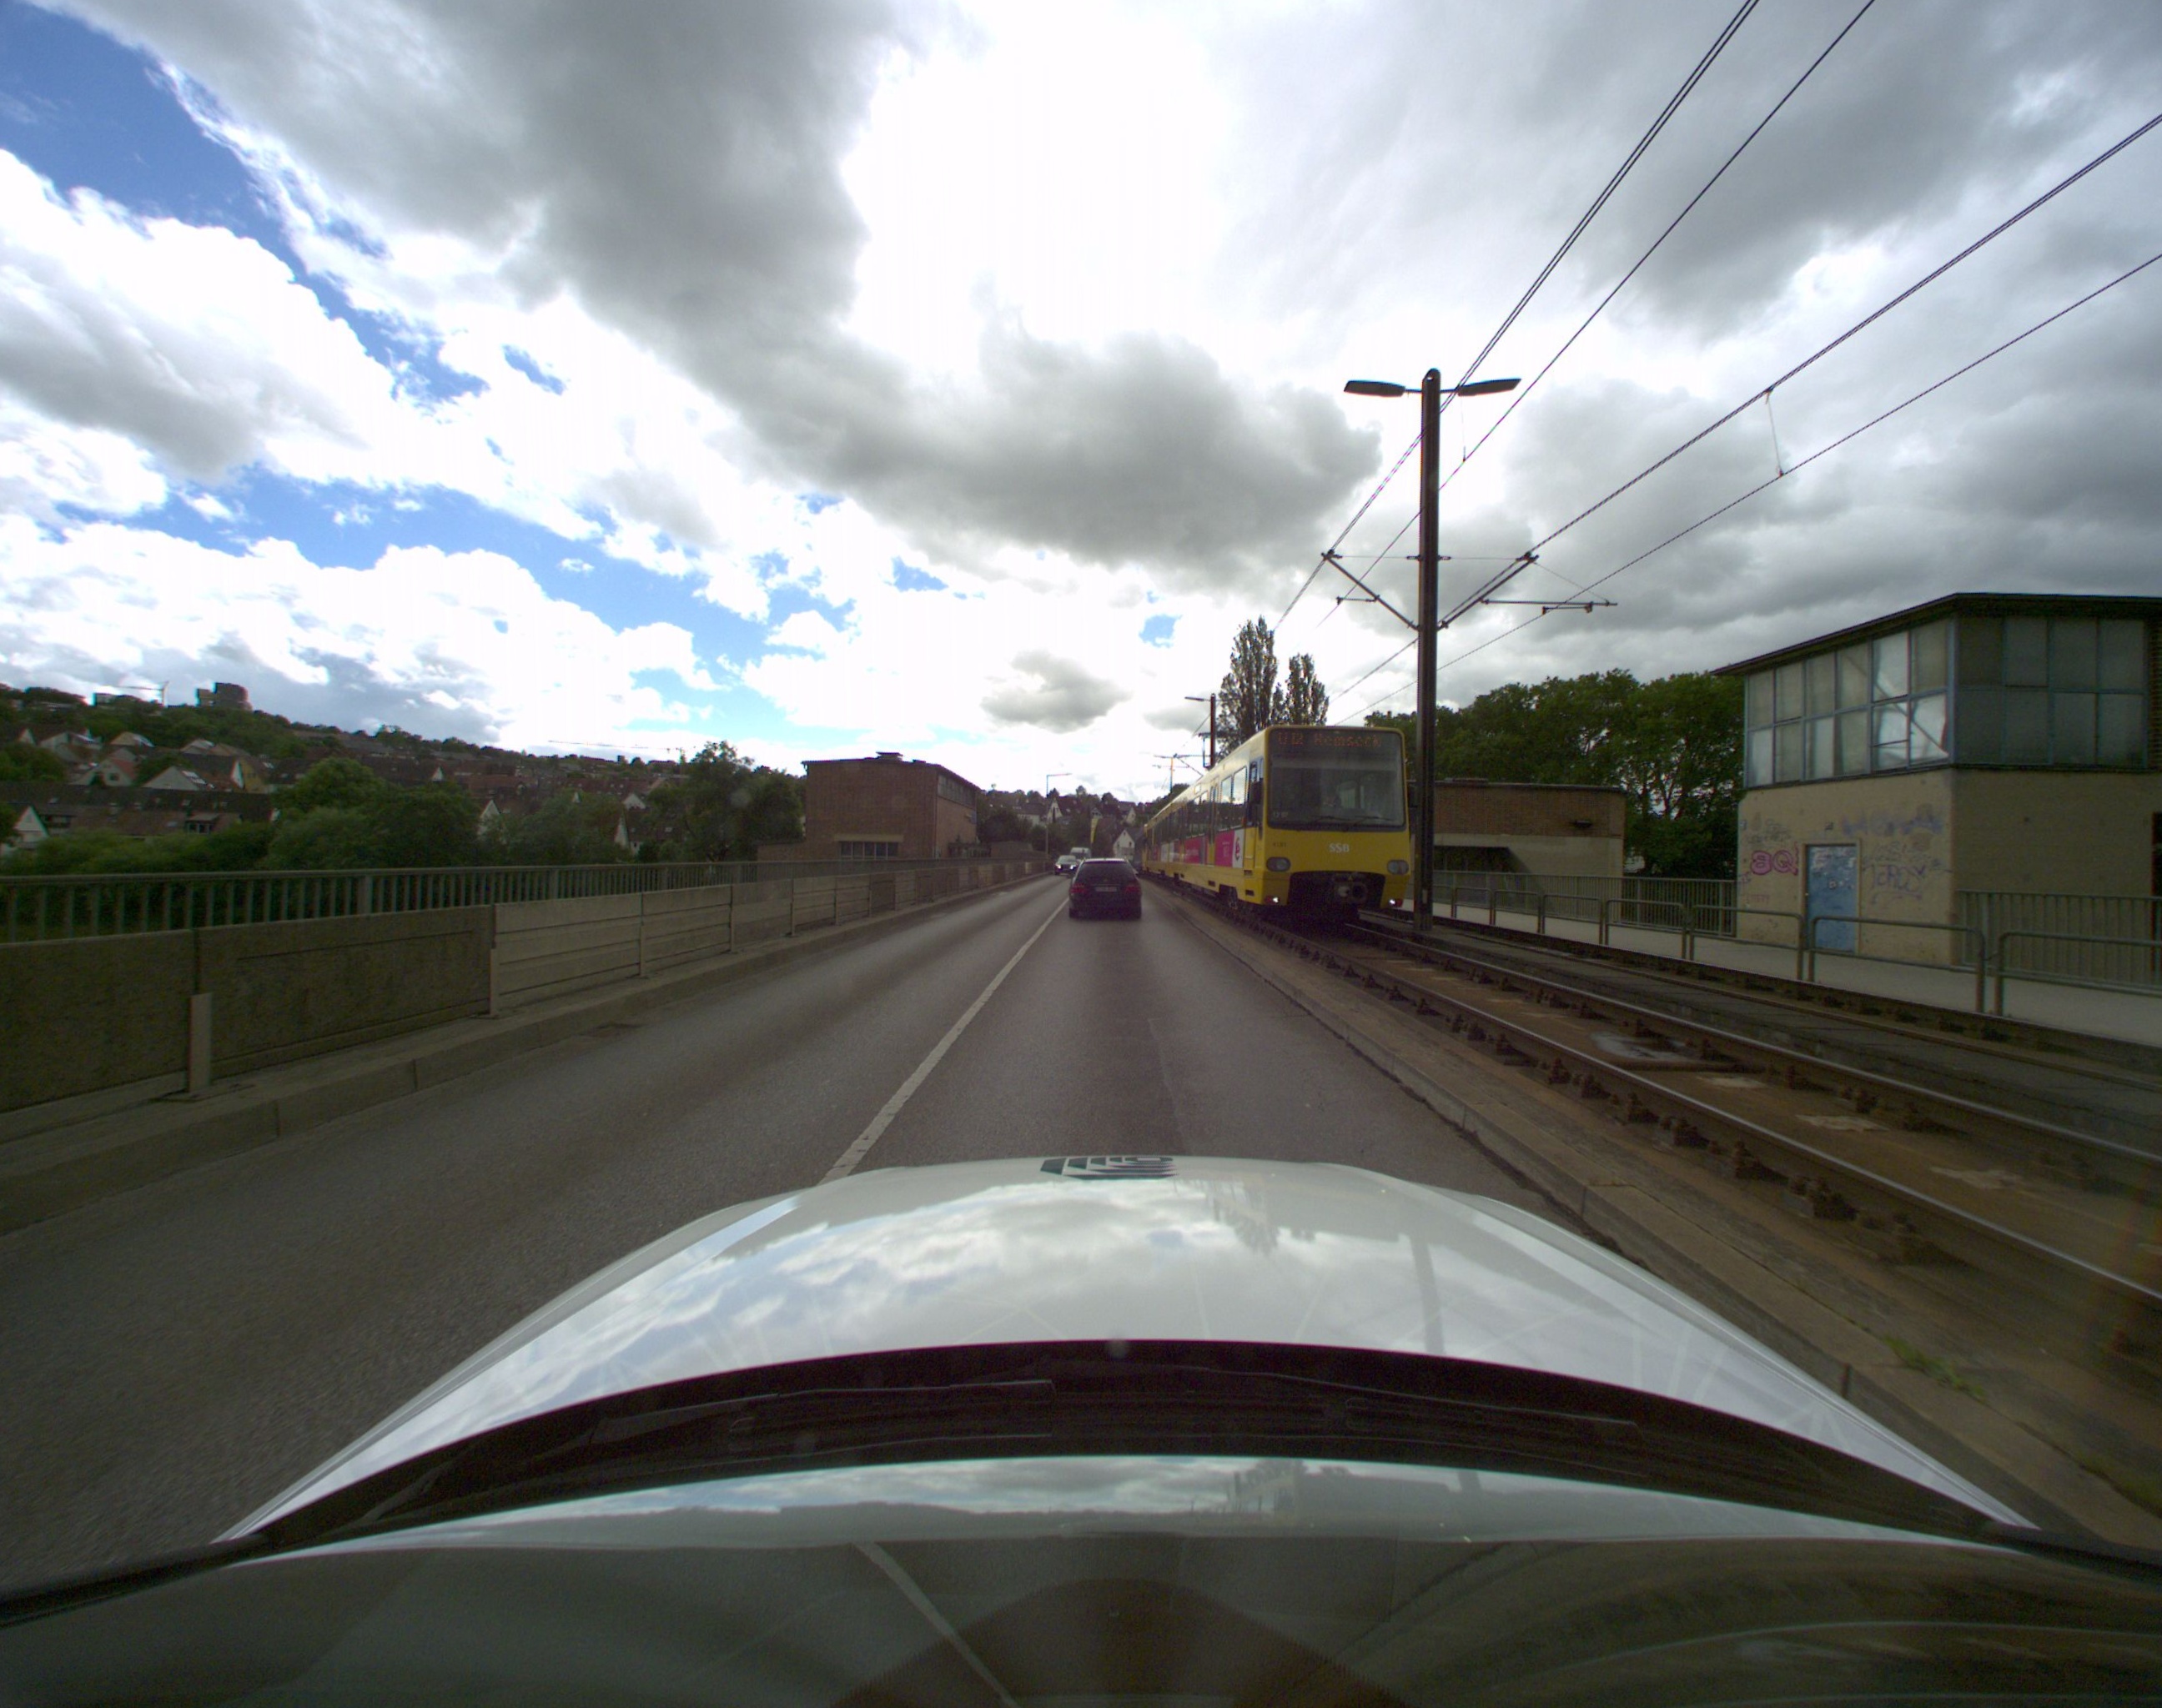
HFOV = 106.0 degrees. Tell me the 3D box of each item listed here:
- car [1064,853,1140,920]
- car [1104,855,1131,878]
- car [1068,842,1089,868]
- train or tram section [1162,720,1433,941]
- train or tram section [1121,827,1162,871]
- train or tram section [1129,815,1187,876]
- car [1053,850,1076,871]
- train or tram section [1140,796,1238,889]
[{"bbox_3d":[0.520,0.759,21.265,1.753,1.515,4.443,-1,0,1],"label":"car"},{"bbox_3d":[2.570,0.888,58.275,1.765,1.555,4.240,0,0,0],"label":"car"},{"bbox_3d":[-0.216,0.055,84.558,2.026,2.561,7.010,0,1,1],"label":"car"},{"bbox_3d":[4.411,-0.420,22.476,2.872,3.509,18.671,-1,0,1],"label":"train or tram section"},{"bbox_3d":[5.737,-0.366,80.352,2.783,3.764,19.893,1,0,1],"label":"train or tram section"},{"bbox_3d":[5.358,-0.474,60.445,2.774,3.656,19.896,-1,0,1],"label":"train or tram section"},{"bbox_3d":[-1.365,0.490,68.144,1.709,1.645,4.001,-1,1,1],"label":"car"},{"bbox_3d":[4.895,-0.493,41.160,2.819,3.580,18.671,-1,0,1],"label":"train or tram section"}]
